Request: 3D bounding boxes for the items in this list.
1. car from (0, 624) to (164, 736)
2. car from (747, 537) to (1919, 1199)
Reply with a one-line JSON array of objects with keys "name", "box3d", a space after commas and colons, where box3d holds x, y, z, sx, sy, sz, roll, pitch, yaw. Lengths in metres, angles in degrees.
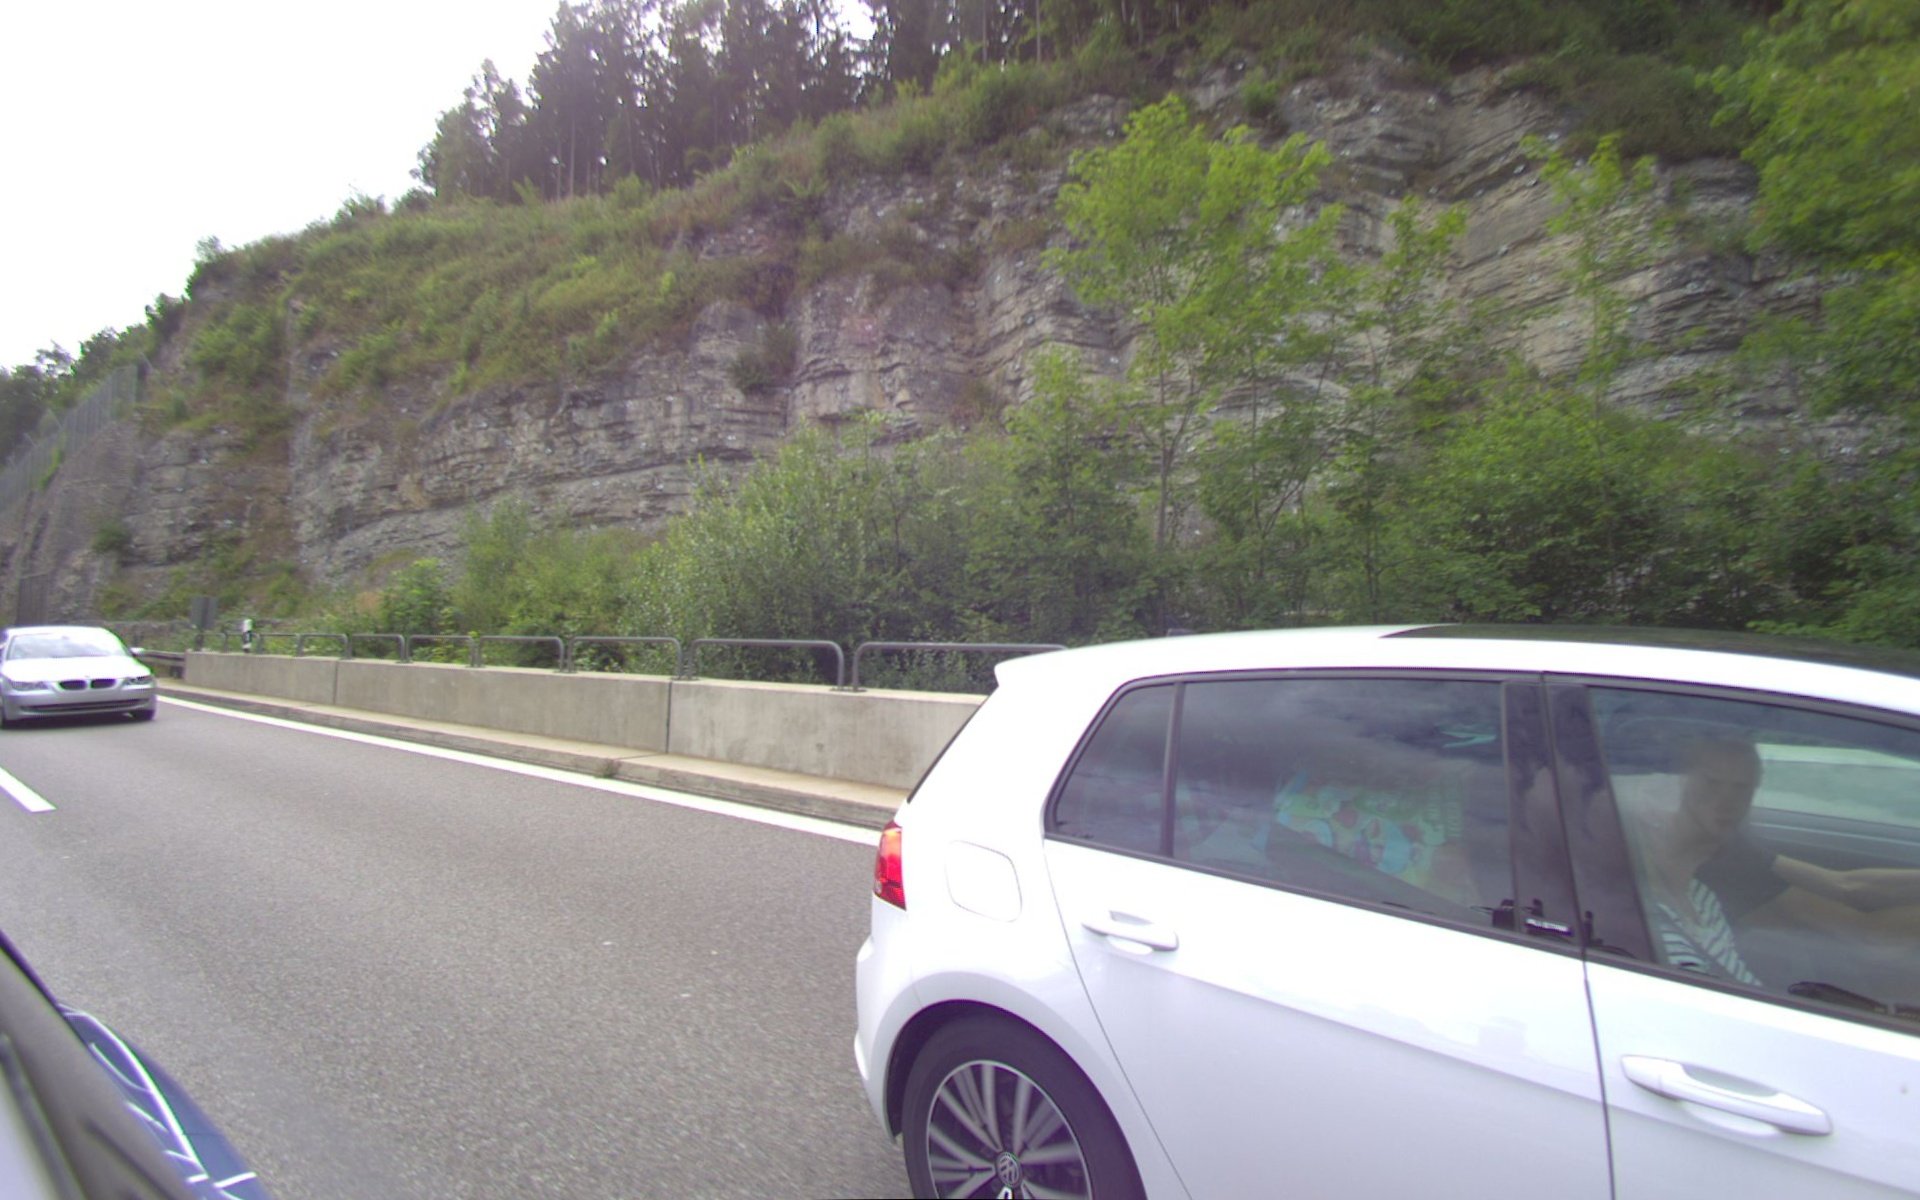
[{"name": "car", "box3d": [-14.332, 1.168, 16.015, 5.132, 1.468, 1.809, -2, -1, 41]}, {"name": "car", "box3d": [1.819, 0.708, 1.690, 4.625, 1.493, 1.826, -3, -4, 41]}]
